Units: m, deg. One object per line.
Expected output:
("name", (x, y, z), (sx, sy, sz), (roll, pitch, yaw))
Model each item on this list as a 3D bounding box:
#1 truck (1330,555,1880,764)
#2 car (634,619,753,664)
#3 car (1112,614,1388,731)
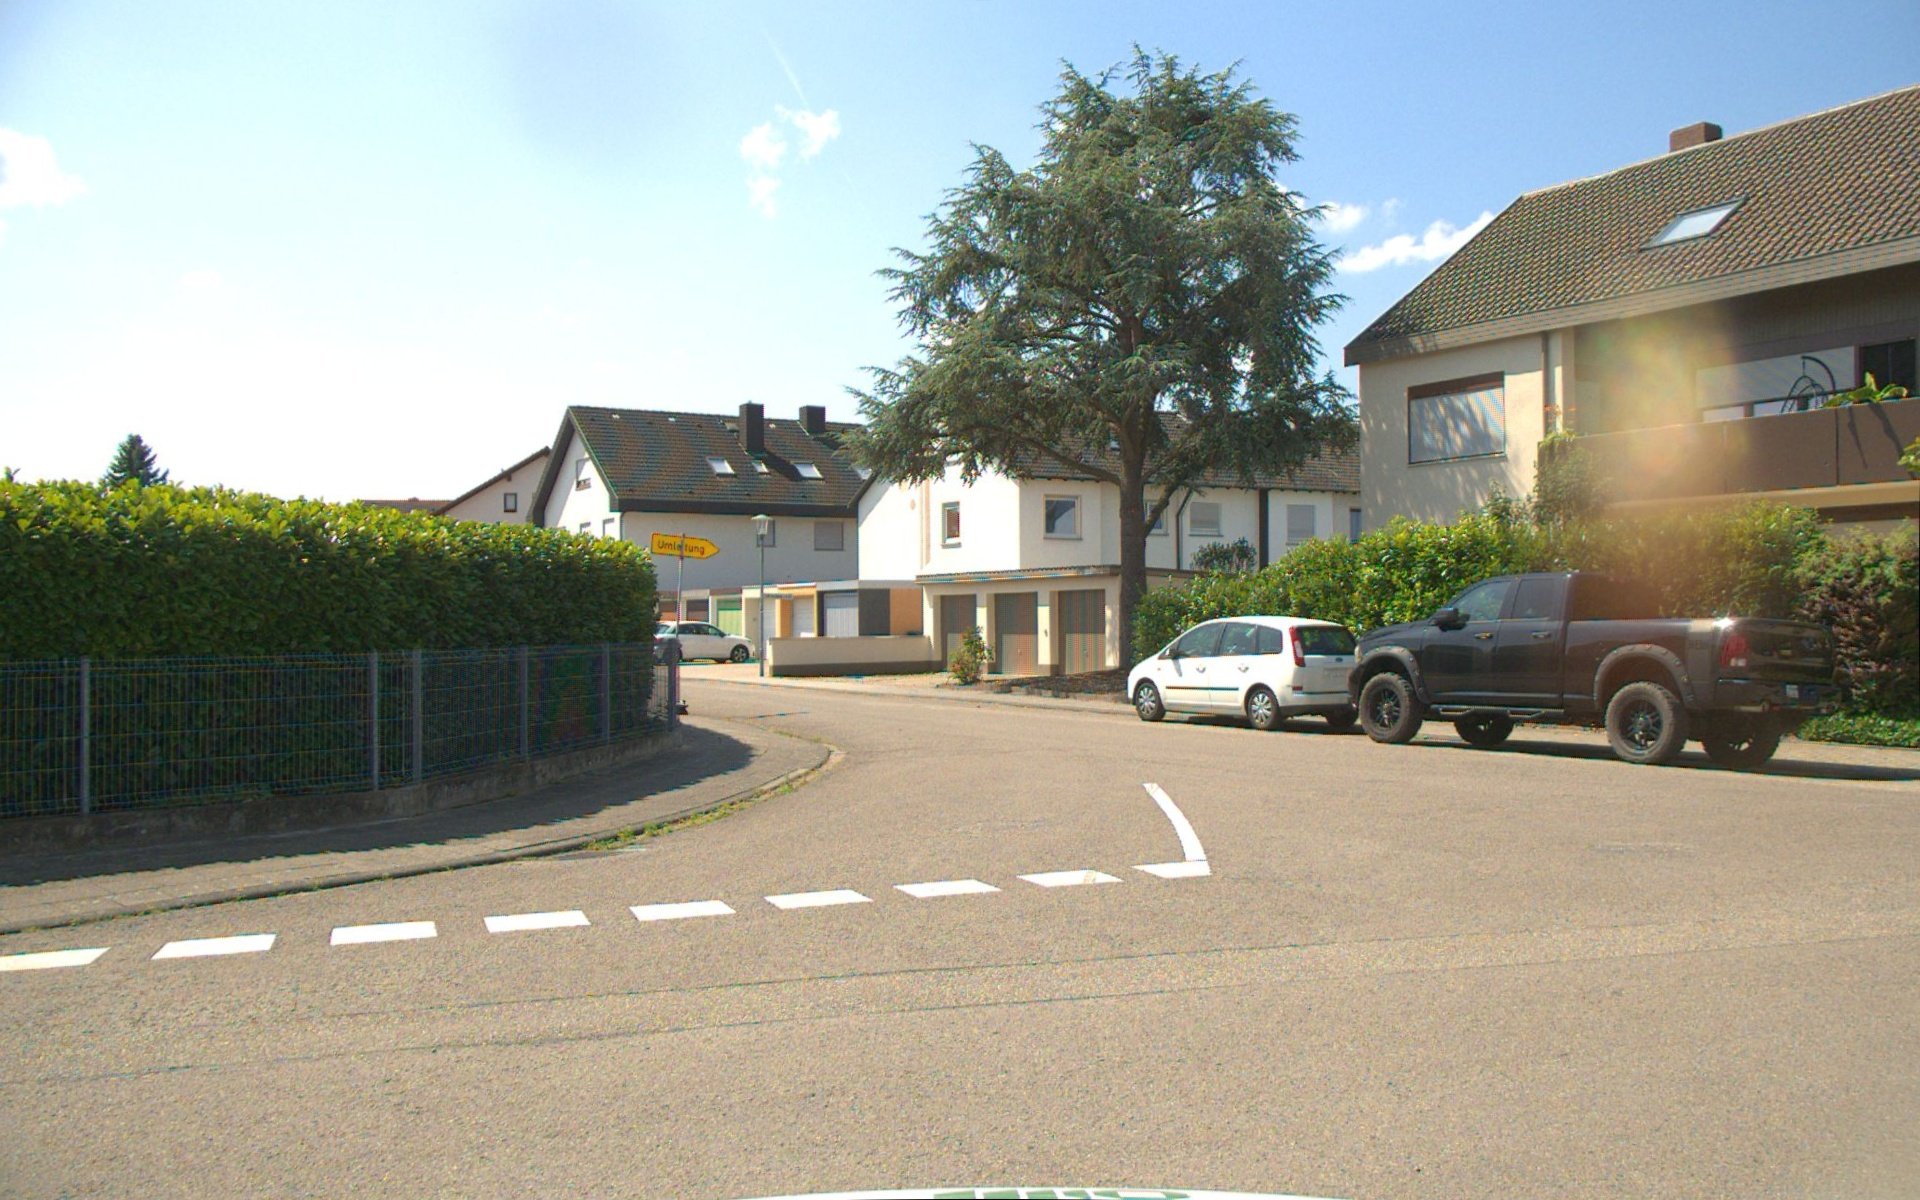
("truck", (7.220, 0.687, 19.200), (2.343, 2.049, 5.644), (4, -3, -34))
("car", (-8.970, 1.391, 55.725), (3.564, 1.433, 1.765), (0, -1, -32))
("car", (4.246, 1.027, 24.816), (1.781, 1.590, 4.095), (0, -1, -33))
